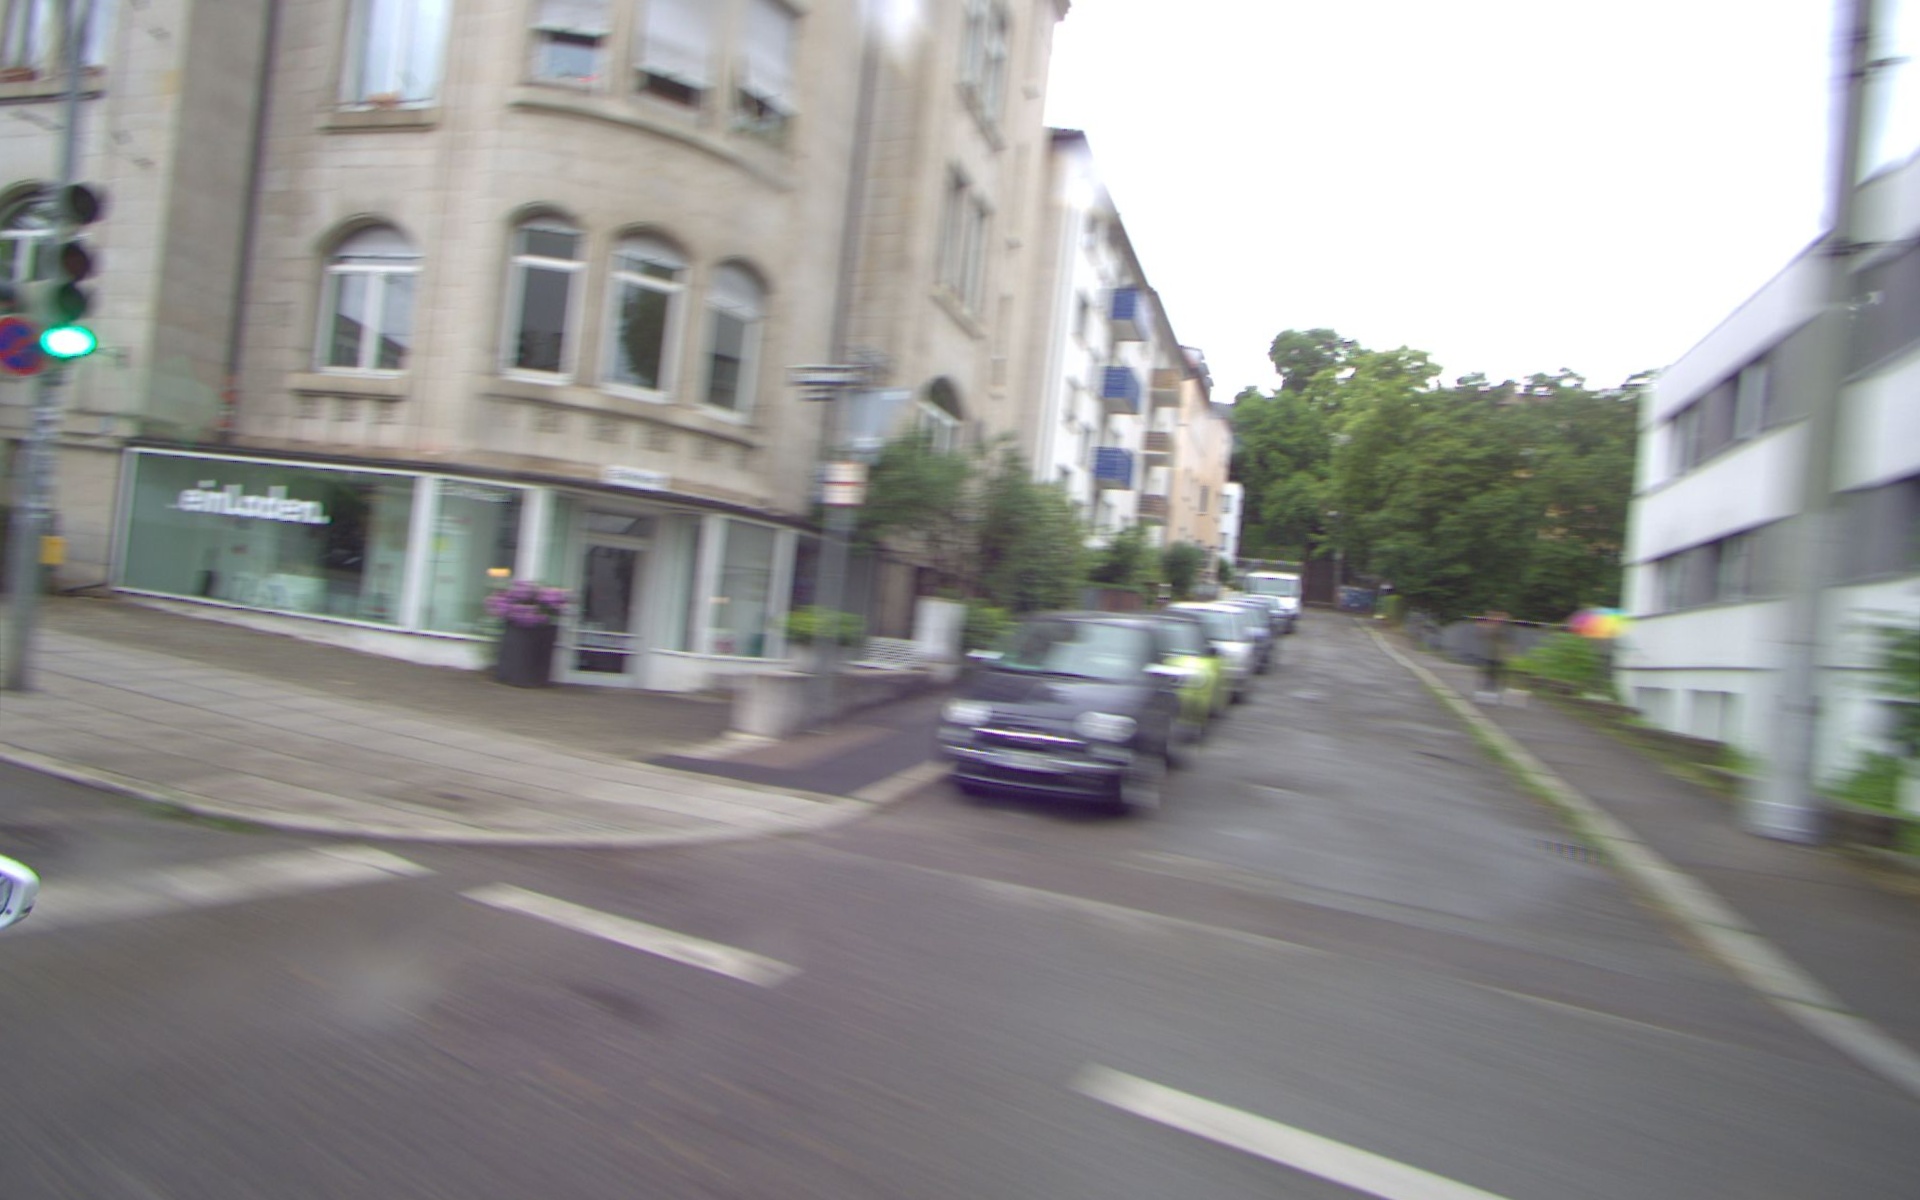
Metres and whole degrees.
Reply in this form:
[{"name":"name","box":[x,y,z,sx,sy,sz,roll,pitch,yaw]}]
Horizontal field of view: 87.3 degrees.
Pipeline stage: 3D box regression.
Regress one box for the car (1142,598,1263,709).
[{"name":"car","box":[4.217,0.795,17.136,1.593,1.528,3.768,4,2,18]}]

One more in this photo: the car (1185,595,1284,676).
[{"name":"car","box":[6.061,0.713,21.948,1.594,1.528,3.891,3,1,22]}]

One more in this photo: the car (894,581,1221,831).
[{"name":"car","box":[1.068,0.747,8.831,1.706,1.528,3.666,7,2,23]}]

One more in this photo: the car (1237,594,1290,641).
[{"name":"car","box":[10.833,0.629,35.742,1.593,1.470,3.953,4,0,18]}]

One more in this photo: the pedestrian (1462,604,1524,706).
[{"name":"pedestrian","box":[9.447,0.970,17.865,0.637,1.700,0.704,9,2,18]}]

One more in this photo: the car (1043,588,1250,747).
[{"name":"car","box":[2.501,0.748,12.776,1.706,1.528,3.666,7,2,22]}]

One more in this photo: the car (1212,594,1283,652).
[{"name":"car","box":[7.838,0.632,27.228,1.593,1.341,3.953,4,0,18]}]

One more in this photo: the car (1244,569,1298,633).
[{"name":"car","box":[12.507,0.095,40.322,1.796,2.302,4.635,4,0,18]}]
